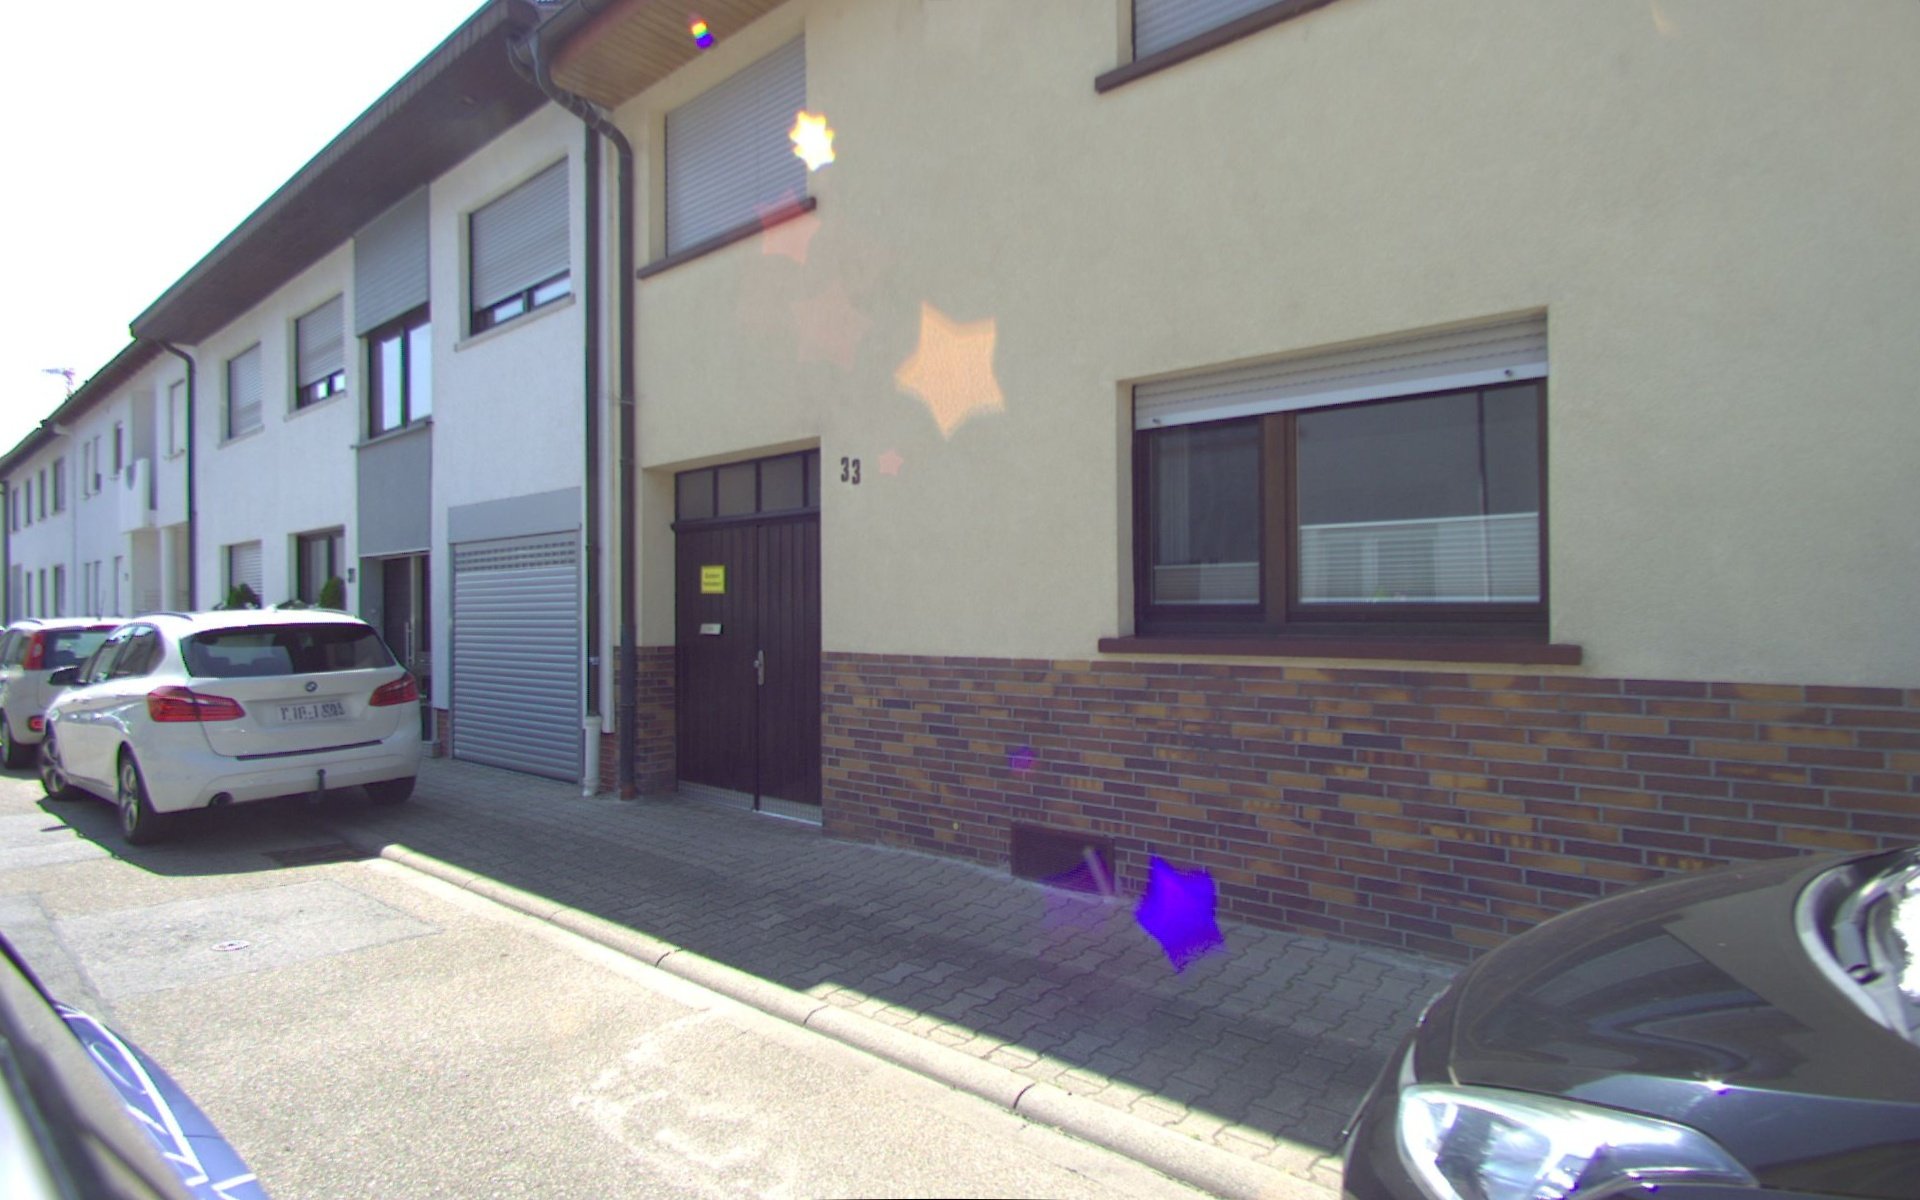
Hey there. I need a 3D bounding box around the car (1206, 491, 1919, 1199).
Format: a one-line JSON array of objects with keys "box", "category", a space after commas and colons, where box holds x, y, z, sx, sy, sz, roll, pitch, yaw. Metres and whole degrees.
[{"box": [2.358, 0.673, 0.744, 3.939, 1.549, 1.623, -1, -2, 40], "category": "car"}]

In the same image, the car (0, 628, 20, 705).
[{"box": [-19.657, 1.287, 19.783, 3.213, 1.454, 1.585, -2, -3, 42], "category": "car"}]

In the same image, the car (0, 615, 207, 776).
[{"box": [-10.210, 0.963, 11.586, 3.684, 1.553, 1.647, -1, -2, 38], "category": "car"}]

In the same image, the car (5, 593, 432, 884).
[{"box": [-5.974, 0.832, 8.006, 3.937, 1.560, 1.647, 2, 6, 38], "category": "car"}]
